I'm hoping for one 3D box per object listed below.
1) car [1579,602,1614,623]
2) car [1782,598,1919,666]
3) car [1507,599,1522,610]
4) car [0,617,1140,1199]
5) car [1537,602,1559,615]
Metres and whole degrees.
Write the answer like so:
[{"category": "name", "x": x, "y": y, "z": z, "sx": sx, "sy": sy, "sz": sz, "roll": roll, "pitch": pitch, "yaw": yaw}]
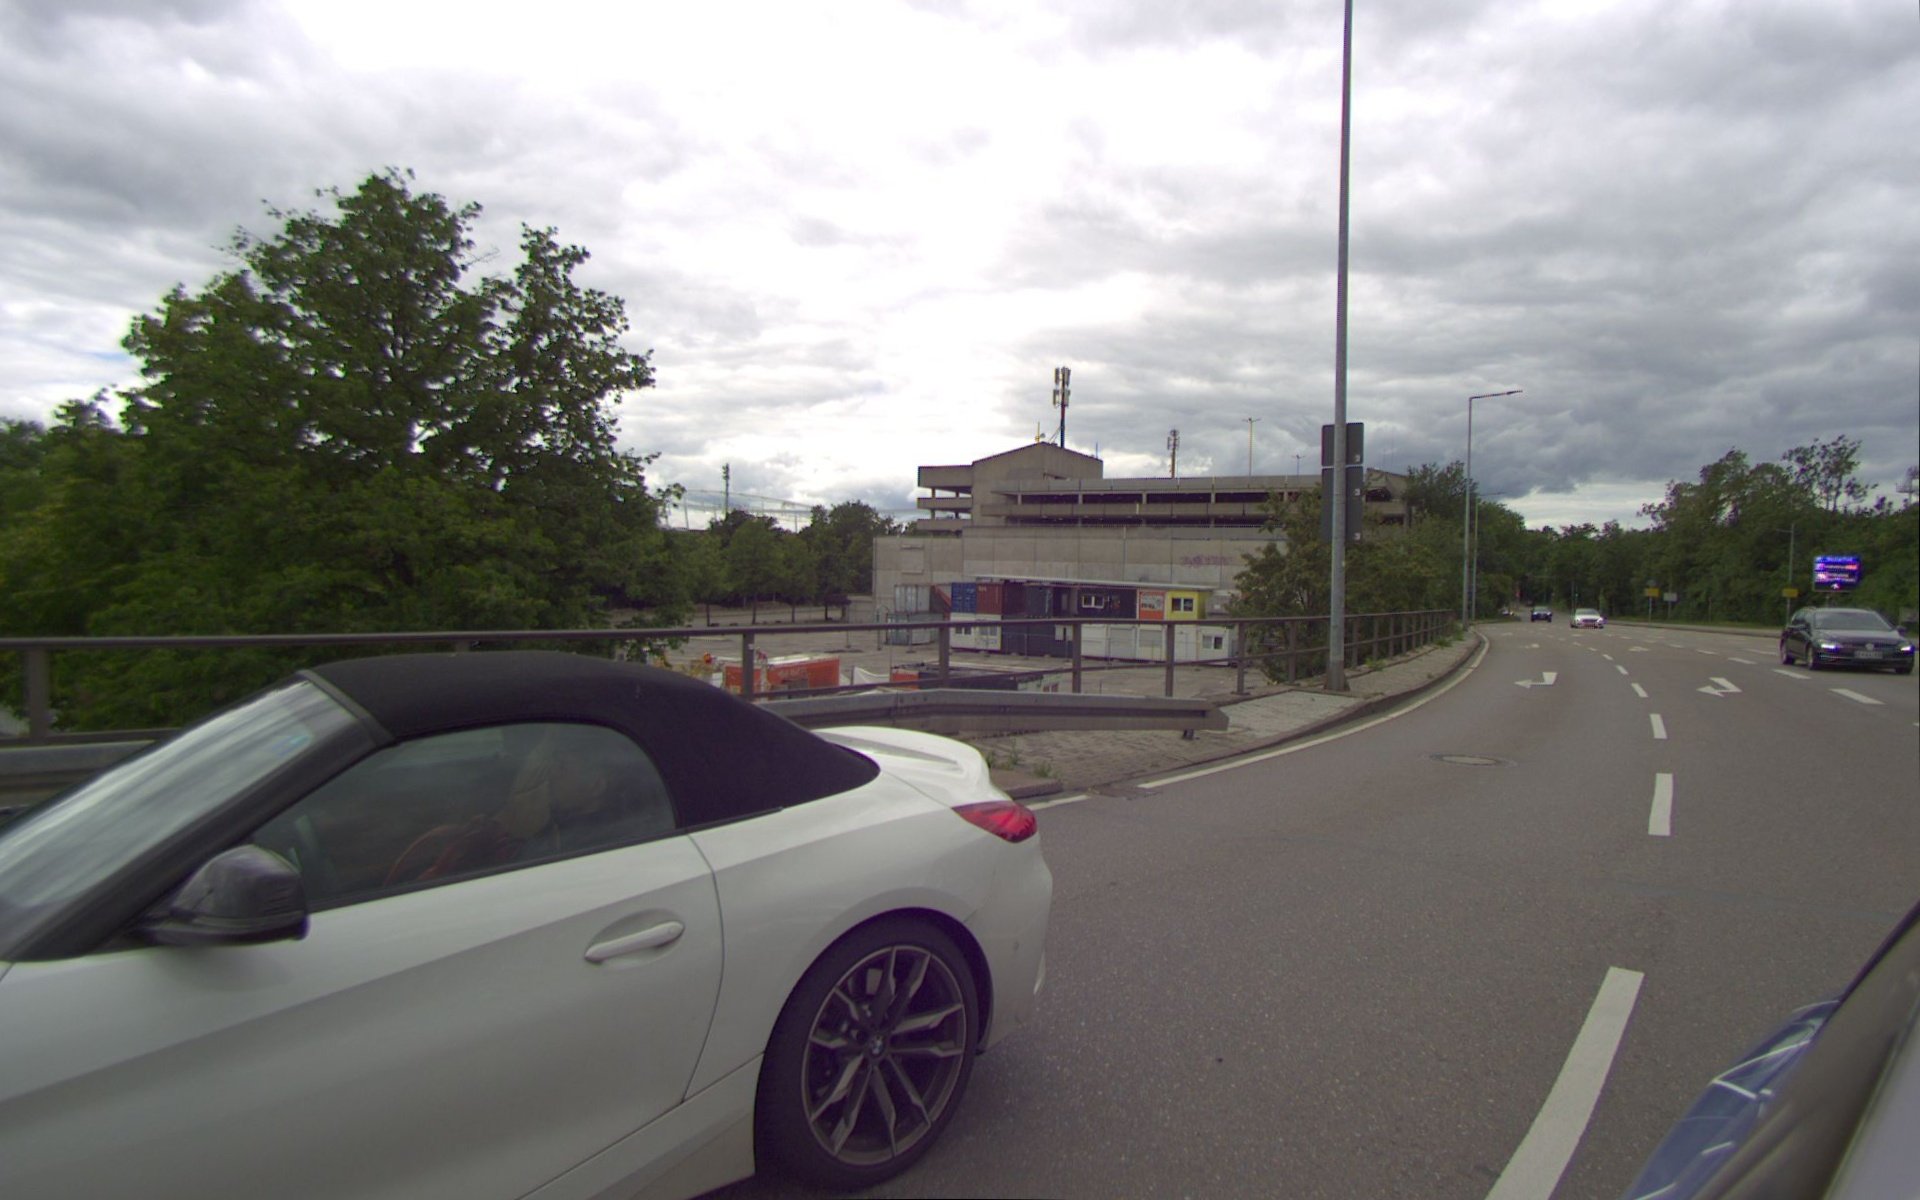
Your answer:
[{"category": "car", "x": 47.096, "y": 0.904, "z": 74.970, "sx": 1.848, "sy": 1.434, "sz": 4.296, "roll": 1, "pitch": 0, "yaw": 28}, {"category": "car", "x": 20.842, "y": 0.669, "z": 23.625, "sx": 1.850, "sy": 1.434, "sz": 4.293, "roll": 1, "pitch": 0, "yaw": 30}, {"category": "car", "x": 92.866, "y": 0.839, "z": 169.577, "sx": 1.979, "sy": 1.728, "sz": 3.964, "roll": -3, "pitch": -2, "yaw": 25}, {"category": "car", "x": -1.626, "y": 0.743, "z": 2.477, "sx": 4.187, "sy": 1.308, "sz": 1.809, "roll": 0, "pitch": 0, "yaw": -40}, {"category": "car", "x": 65.006, "y": 0.936, "z": 111.946, "sx": 1.848, "sy": 1.434, "sz": 4.298, "roll": 1, "pitch": 0, "yaw": 27}]
